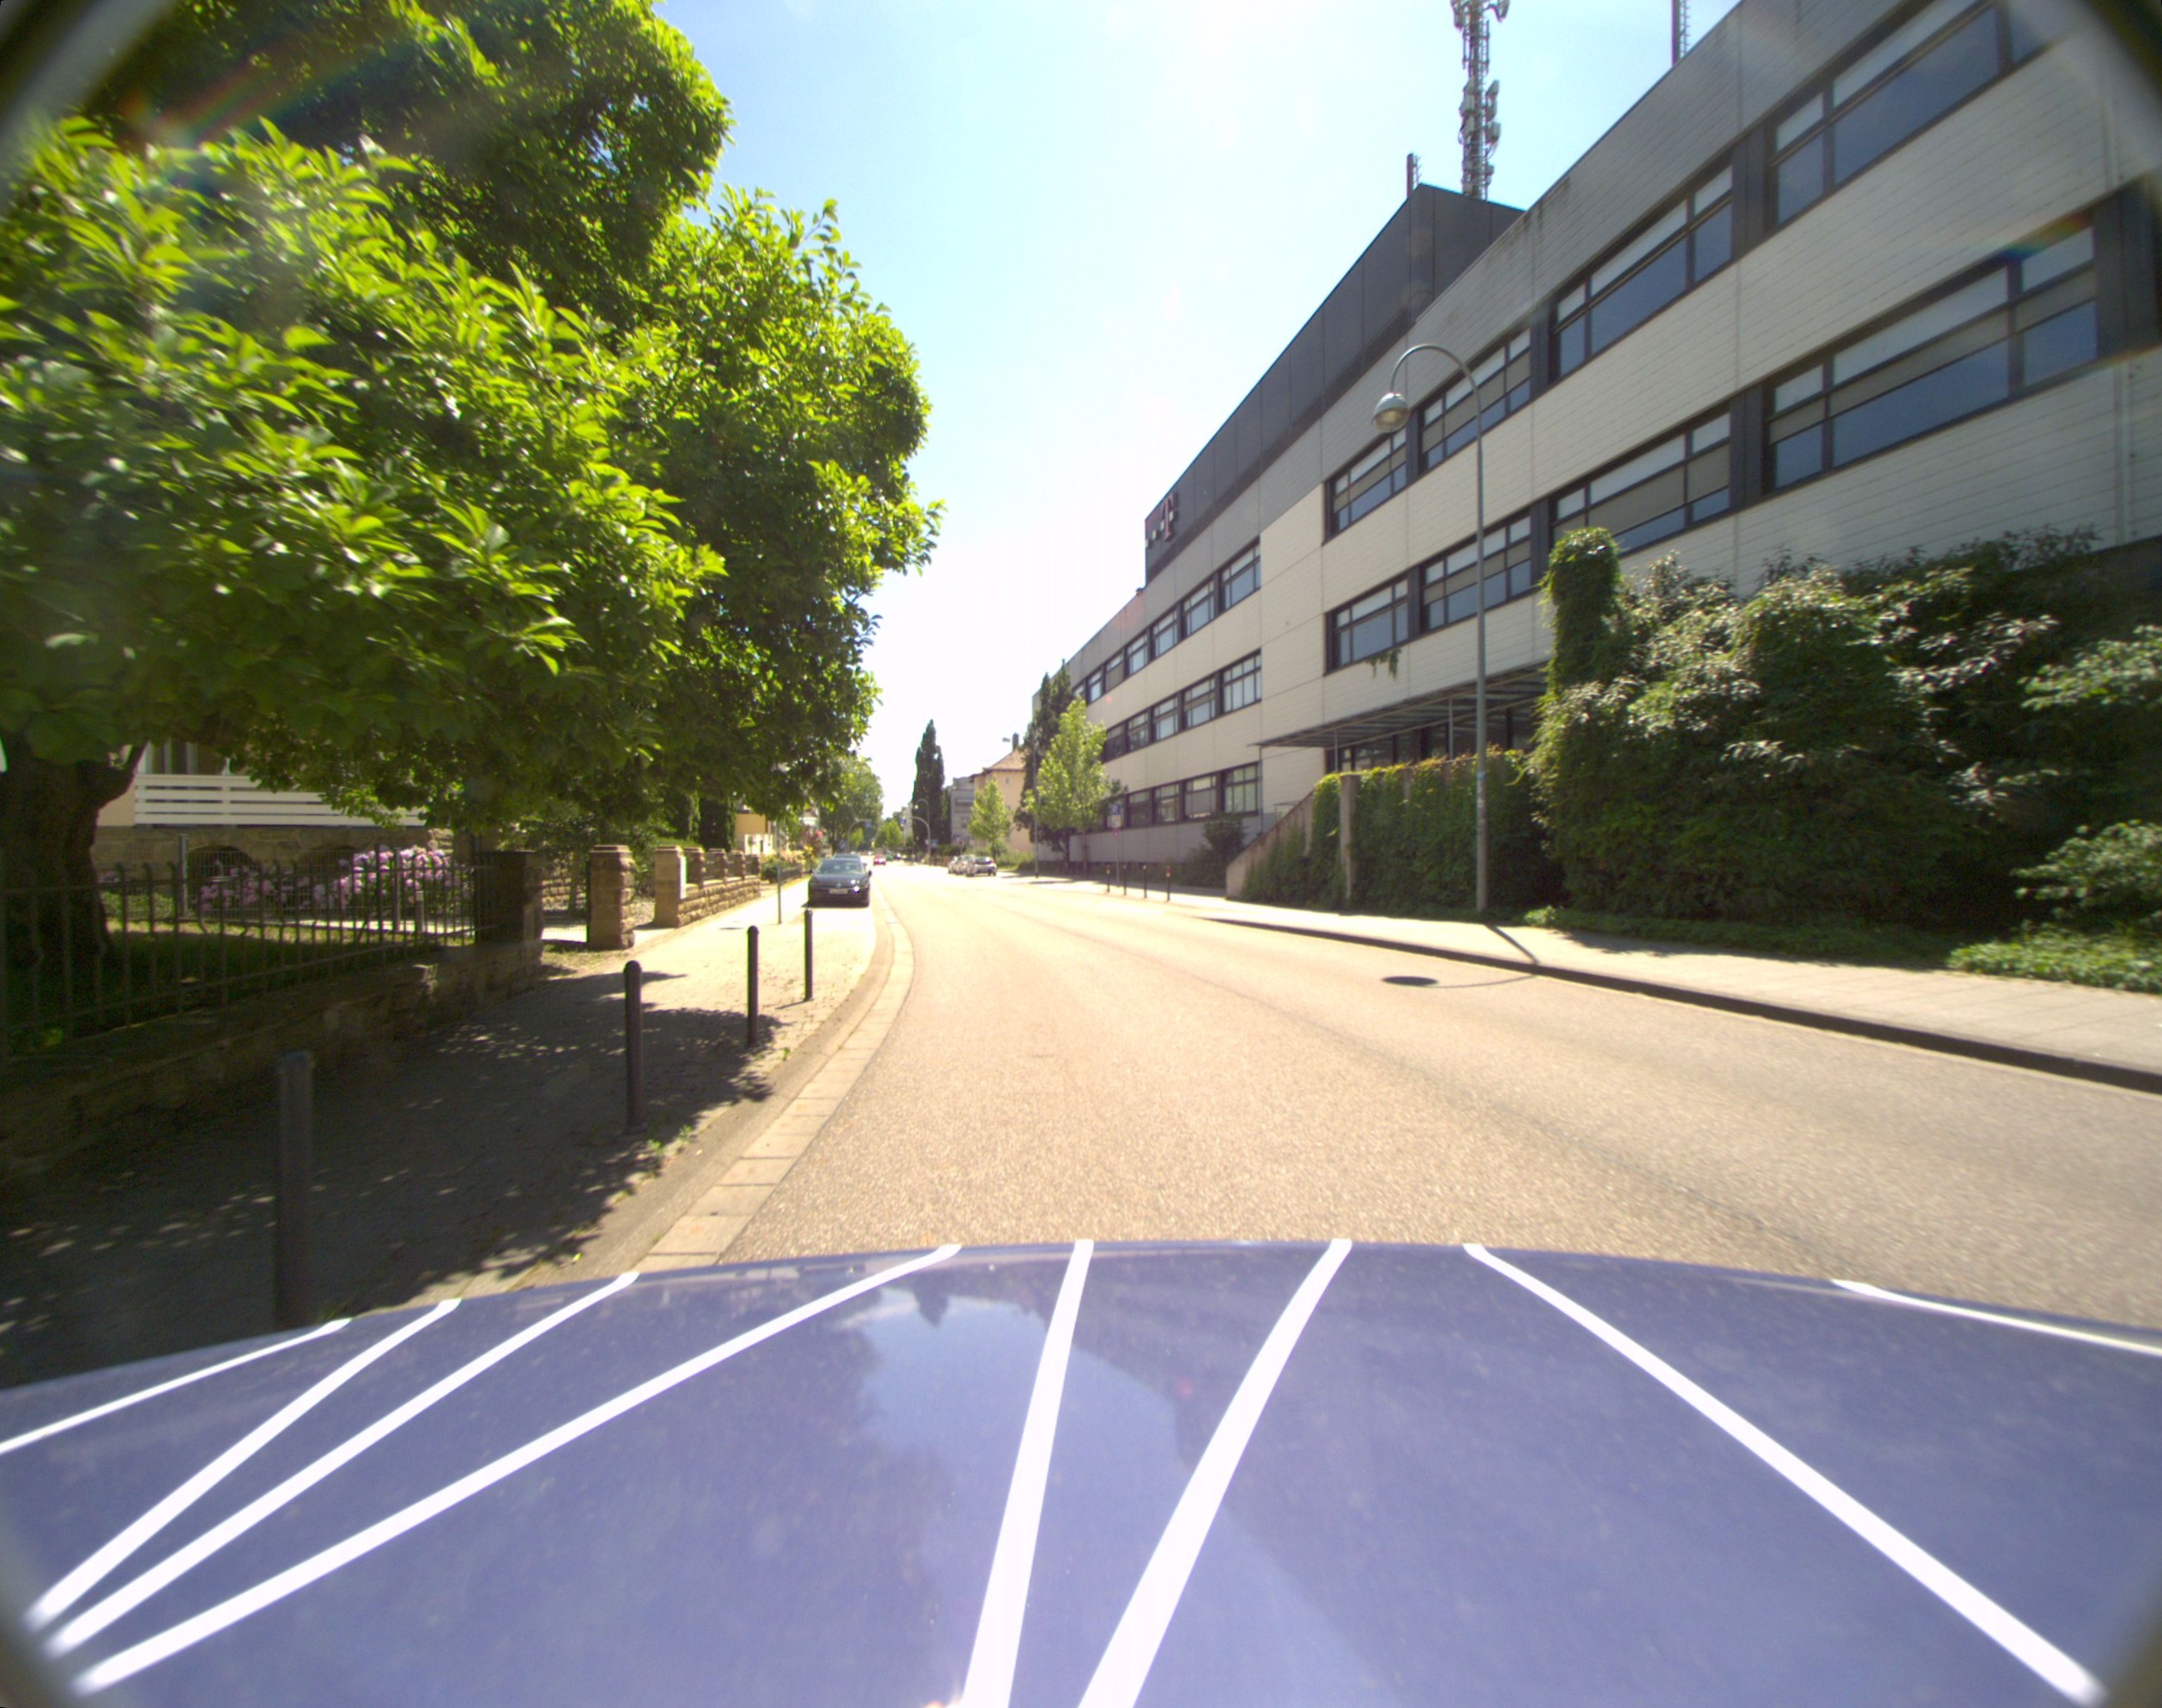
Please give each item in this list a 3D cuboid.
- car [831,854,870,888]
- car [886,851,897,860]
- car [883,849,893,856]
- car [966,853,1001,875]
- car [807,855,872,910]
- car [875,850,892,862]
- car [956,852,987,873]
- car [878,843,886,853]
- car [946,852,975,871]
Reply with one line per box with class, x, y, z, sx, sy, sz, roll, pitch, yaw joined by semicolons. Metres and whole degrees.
car;-11.503;0.802;37.871;1.776;1.532;3.993;0;0;-17
car;-36.657;0.262;146.844;1.832;1.619;3.994;-3;1;-15
car;-43.350;-0.328;170.660;2.001;1.622;3.994;-3;1;-15
car;-6.981;0.648;53.876;1.738;1.441;4.023;-2;1;-17
car;-7.470;0.808;23.562;1.776;1.532;3.993;0;0;-17
car;-27.615;0.244;106.170;1.850;1.649;3.993;-3;1;-19
car;-8.477;0.636;58.822;1.748;1.494;3.728;-2;1;-17
car;-54.168;-1.637;207.119;2.014;2.364;3.994;-3;1;-14
car;-10.053;0.590;63.151;1.776;1.532;3.993;0;0;-17
